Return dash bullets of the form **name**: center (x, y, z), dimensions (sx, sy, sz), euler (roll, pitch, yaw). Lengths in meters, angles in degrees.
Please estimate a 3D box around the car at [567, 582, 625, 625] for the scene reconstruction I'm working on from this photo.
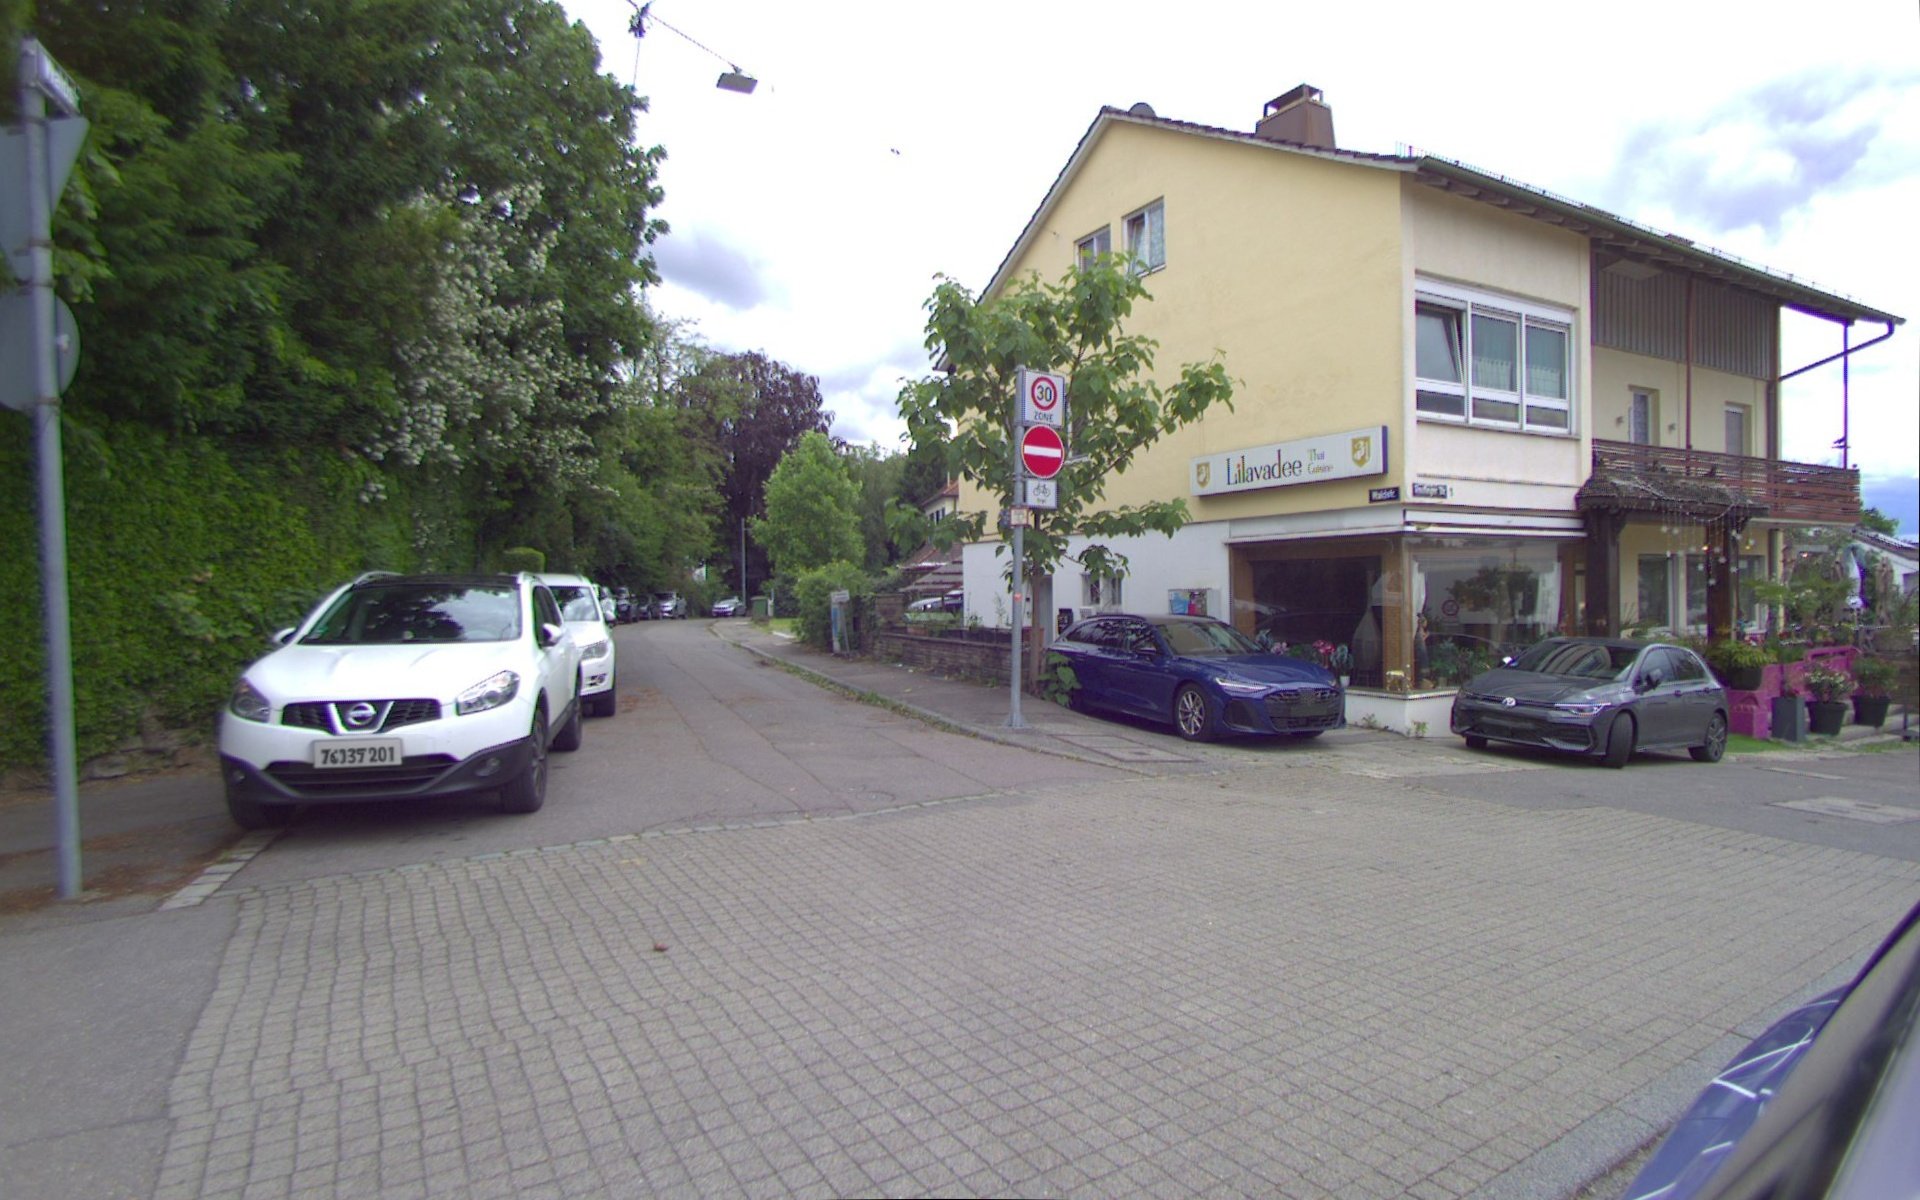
- **car**: center (-13.441, 0.105, 37.548), dimensions (1.542, 1.502, 3.481), euler (-1, 1, -11)

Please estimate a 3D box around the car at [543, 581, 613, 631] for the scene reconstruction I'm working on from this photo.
- **car**: center (-12.234, 0.139, 32.594), dimensions (1.541, 1.502, 3.745), euler (-1, 1, -11)

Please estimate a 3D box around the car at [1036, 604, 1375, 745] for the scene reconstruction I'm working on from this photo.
- **car**: center (2.902, 0.828, 13.216), dimensions (1.761, 1.405, 4.758), euler (2, 0, -23)

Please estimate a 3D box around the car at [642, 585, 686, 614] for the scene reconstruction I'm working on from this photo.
- **car**: center (-16.261, -0.038, 55.796), dimensions (1.543, 1.502, 3.476), euler (0, 1, -3)

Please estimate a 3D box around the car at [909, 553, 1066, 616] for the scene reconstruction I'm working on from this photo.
- **car**: center (0.798, -0.430, 30.204), dimensions (4.235, 1.480, 1.802), euler (4, -2, -19)

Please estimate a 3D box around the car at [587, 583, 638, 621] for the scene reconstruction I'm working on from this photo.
- **car**: center (-14.225, 0.046, 41.528), dimensions (1.542, 1.502, 3.481), euler (-1, 1, -11)

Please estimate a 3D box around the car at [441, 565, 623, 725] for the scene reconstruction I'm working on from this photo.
- **car**: center (-5.189, 0.433, 12.613), dimensions (1.761, 1.643, 4.080), euler (-1, 1, -20)

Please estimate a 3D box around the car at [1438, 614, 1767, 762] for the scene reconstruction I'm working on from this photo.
- **car**: center (7.931, 1.066, 12.378), dimensions (4.242, 1.480, 1.800), euler (5, -2, -34)

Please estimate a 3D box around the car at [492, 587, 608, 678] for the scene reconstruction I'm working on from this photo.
- **car**: center (-7.449, 0.499, 18.636), dimensions (1.761, 1.441, 4.080), euler (-1, 1, -20)

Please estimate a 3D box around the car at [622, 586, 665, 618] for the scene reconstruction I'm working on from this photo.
- **car**: center (-15.937, 0.077, 51.114), dimensions (1.542, 1.502, 3.479), euler (-1, 1, -8)

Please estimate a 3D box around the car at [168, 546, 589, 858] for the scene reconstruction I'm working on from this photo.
- **car**: center (-3.878, 0.506, 7.559), dimensions (1.761, 1.643, 4.144), euler (-1, 1, -16)

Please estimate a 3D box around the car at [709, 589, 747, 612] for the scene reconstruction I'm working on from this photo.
- **car**: center (-16.372, 0.034, 71.459), dimensions (1.547, 1.502, 3.468), euler (0, 1, 7)
